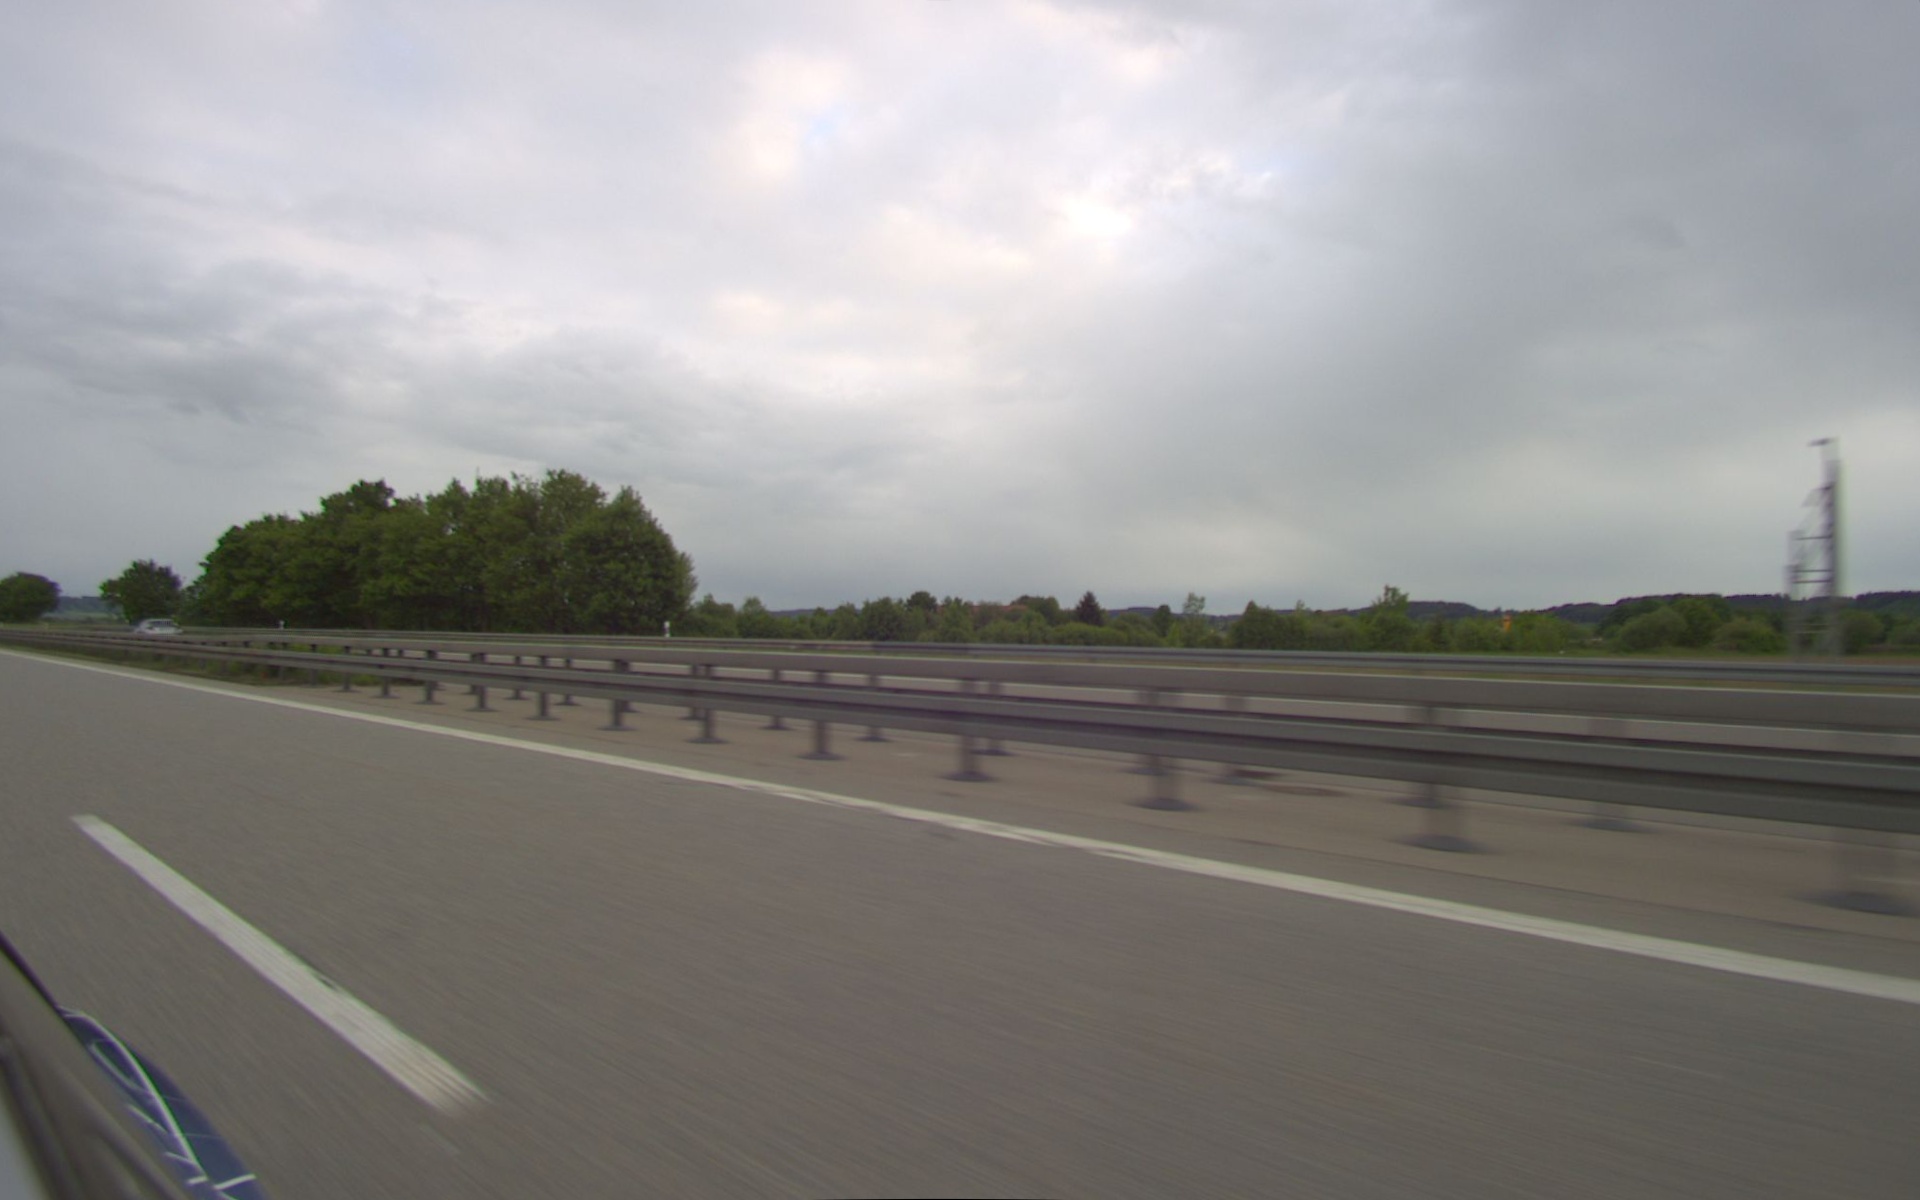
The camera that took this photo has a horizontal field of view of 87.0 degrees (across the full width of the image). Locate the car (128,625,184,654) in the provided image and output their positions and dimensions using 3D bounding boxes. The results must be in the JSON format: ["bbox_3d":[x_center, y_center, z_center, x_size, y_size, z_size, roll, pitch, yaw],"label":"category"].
[{"bbox_3d":[-46.493,2.239,58.501,4.854,1.586,1.722,-1,-1,41],"label":"car"}]
